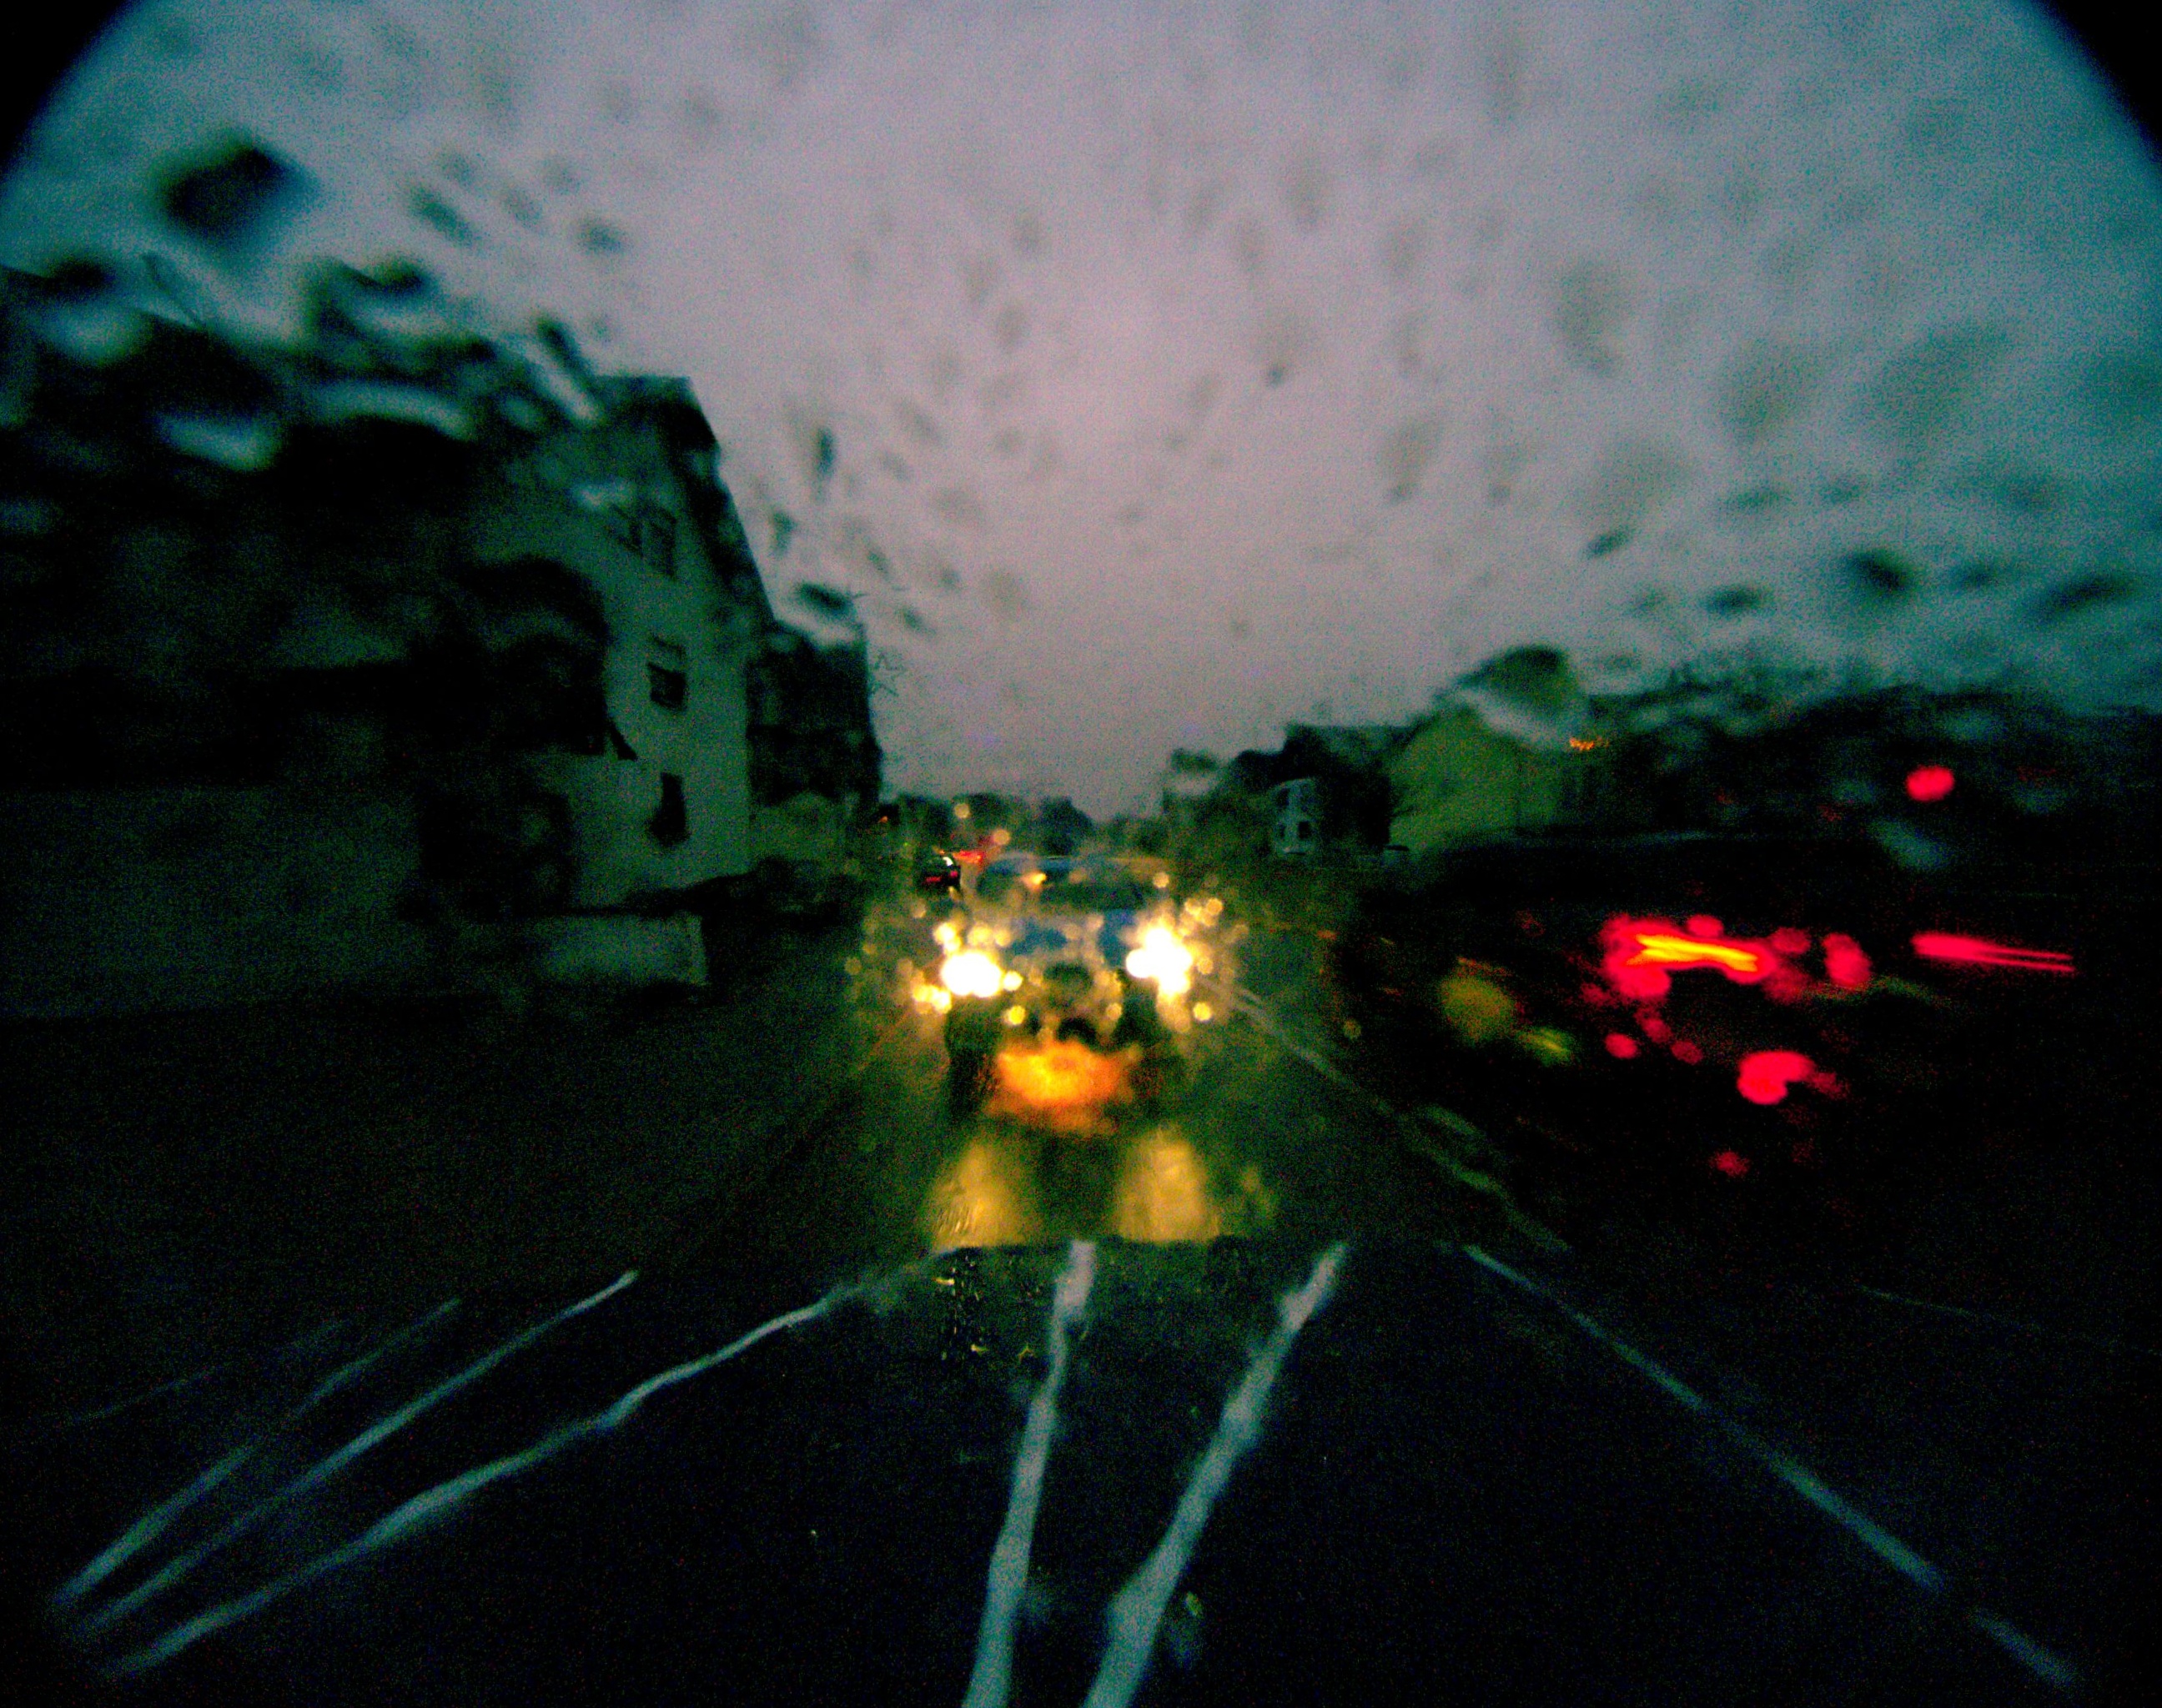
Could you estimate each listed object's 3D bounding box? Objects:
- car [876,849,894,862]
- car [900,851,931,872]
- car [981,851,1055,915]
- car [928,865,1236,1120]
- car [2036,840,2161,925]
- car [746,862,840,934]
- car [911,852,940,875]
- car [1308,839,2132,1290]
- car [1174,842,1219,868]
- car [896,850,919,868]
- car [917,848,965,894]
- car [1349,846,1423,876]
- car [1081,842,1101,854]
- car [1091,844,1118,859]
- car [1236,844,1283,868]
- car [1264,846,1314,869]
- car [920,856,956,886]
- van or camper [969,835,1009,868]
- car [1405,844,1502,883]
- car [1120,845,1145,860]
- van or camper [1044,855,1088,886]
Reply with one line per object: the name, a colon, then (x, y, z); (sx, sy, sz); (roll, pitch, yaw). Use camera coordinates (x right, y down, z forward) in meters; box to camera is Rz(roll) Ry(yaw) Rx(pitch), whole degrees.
car: (-24.880, 0.149, 96.440); (1.815, 1.555, 4.297); (-1, 1, -19)
car: (-13.813, 0.581, 63.373); (1.964, 1.524, 5.000); (-4, 2, -18)
car: (-1.877, 0.801, 22.524); (1.907, 1.630, 4.565); (-2, -1, -5)
car: (-0.102, 0.953, 7.118); (1.999, 1.526, 3.998); (-3, 0, -4)
car: (20.998, 0.546, 14.065); (1.570, 1.571, 3.817); (1, 1, -9)
car: (-6.466, 0.916, 17.381); (1.772, 1.385, 3.907); (1, 0, -17)
car: (-10.892, 0.642, 53.108); (1.659, 1.446, 4.231); (1, 0, -15)
car: (3.011, 0.773, 4.834); (1.742, 1.643, 3.999); (-1, 0, -3)
car: (8.462, 0.063, 56.055); (1.806, 1.793, 3.855); (-1, 1, -16)
car: (-15.964, 0.440, 69.880); (1.671, 1.567, 4.489); (-1, 1, -18)
car: (-5.796, 0.674, 31.817); (1.775, 1.771, 3.997); (2, 0, -8)
car: (17.011, 0.373, 42.579); (1.880, 1.589, 4.221); (1, 0, -11)
car: (1.384, -0.851, 106.883); (1.682, 1.407, 3.827); (-4, 3, -18)
car: (3.117, -0.362, 101.748); (2.001, 1.894, 4.350); (-4, 2, -19)
car: (13.554, 0.090, 57.917); (1.865, 1.672, 3.995); (-4, 2, -12)
car: (14.699, 0.244, 53.939); (1.775, 1.515, 4.026); (-1, 1, -12)
car: (-7.070, 0.811, 37.485); (1.651, 1.407, 2.724); (1, 0, -12)
van or camper: (-7.881, -0.229, 64.438); (2.249, 2.653, 6.545); (-1, 0, -17)
car: (17.960, 0.445, 36.912); (1.880, 1.768, 4.497); (1, 0, -11)
car: (6.081, -0.192, 89.644); (1.823, 1.615, 3.980); (-4, 1, -13)
van or camper: (-0.736, 0.711, 35.114); (1.567, 1.347, 3.419); (0, 0, -9)
